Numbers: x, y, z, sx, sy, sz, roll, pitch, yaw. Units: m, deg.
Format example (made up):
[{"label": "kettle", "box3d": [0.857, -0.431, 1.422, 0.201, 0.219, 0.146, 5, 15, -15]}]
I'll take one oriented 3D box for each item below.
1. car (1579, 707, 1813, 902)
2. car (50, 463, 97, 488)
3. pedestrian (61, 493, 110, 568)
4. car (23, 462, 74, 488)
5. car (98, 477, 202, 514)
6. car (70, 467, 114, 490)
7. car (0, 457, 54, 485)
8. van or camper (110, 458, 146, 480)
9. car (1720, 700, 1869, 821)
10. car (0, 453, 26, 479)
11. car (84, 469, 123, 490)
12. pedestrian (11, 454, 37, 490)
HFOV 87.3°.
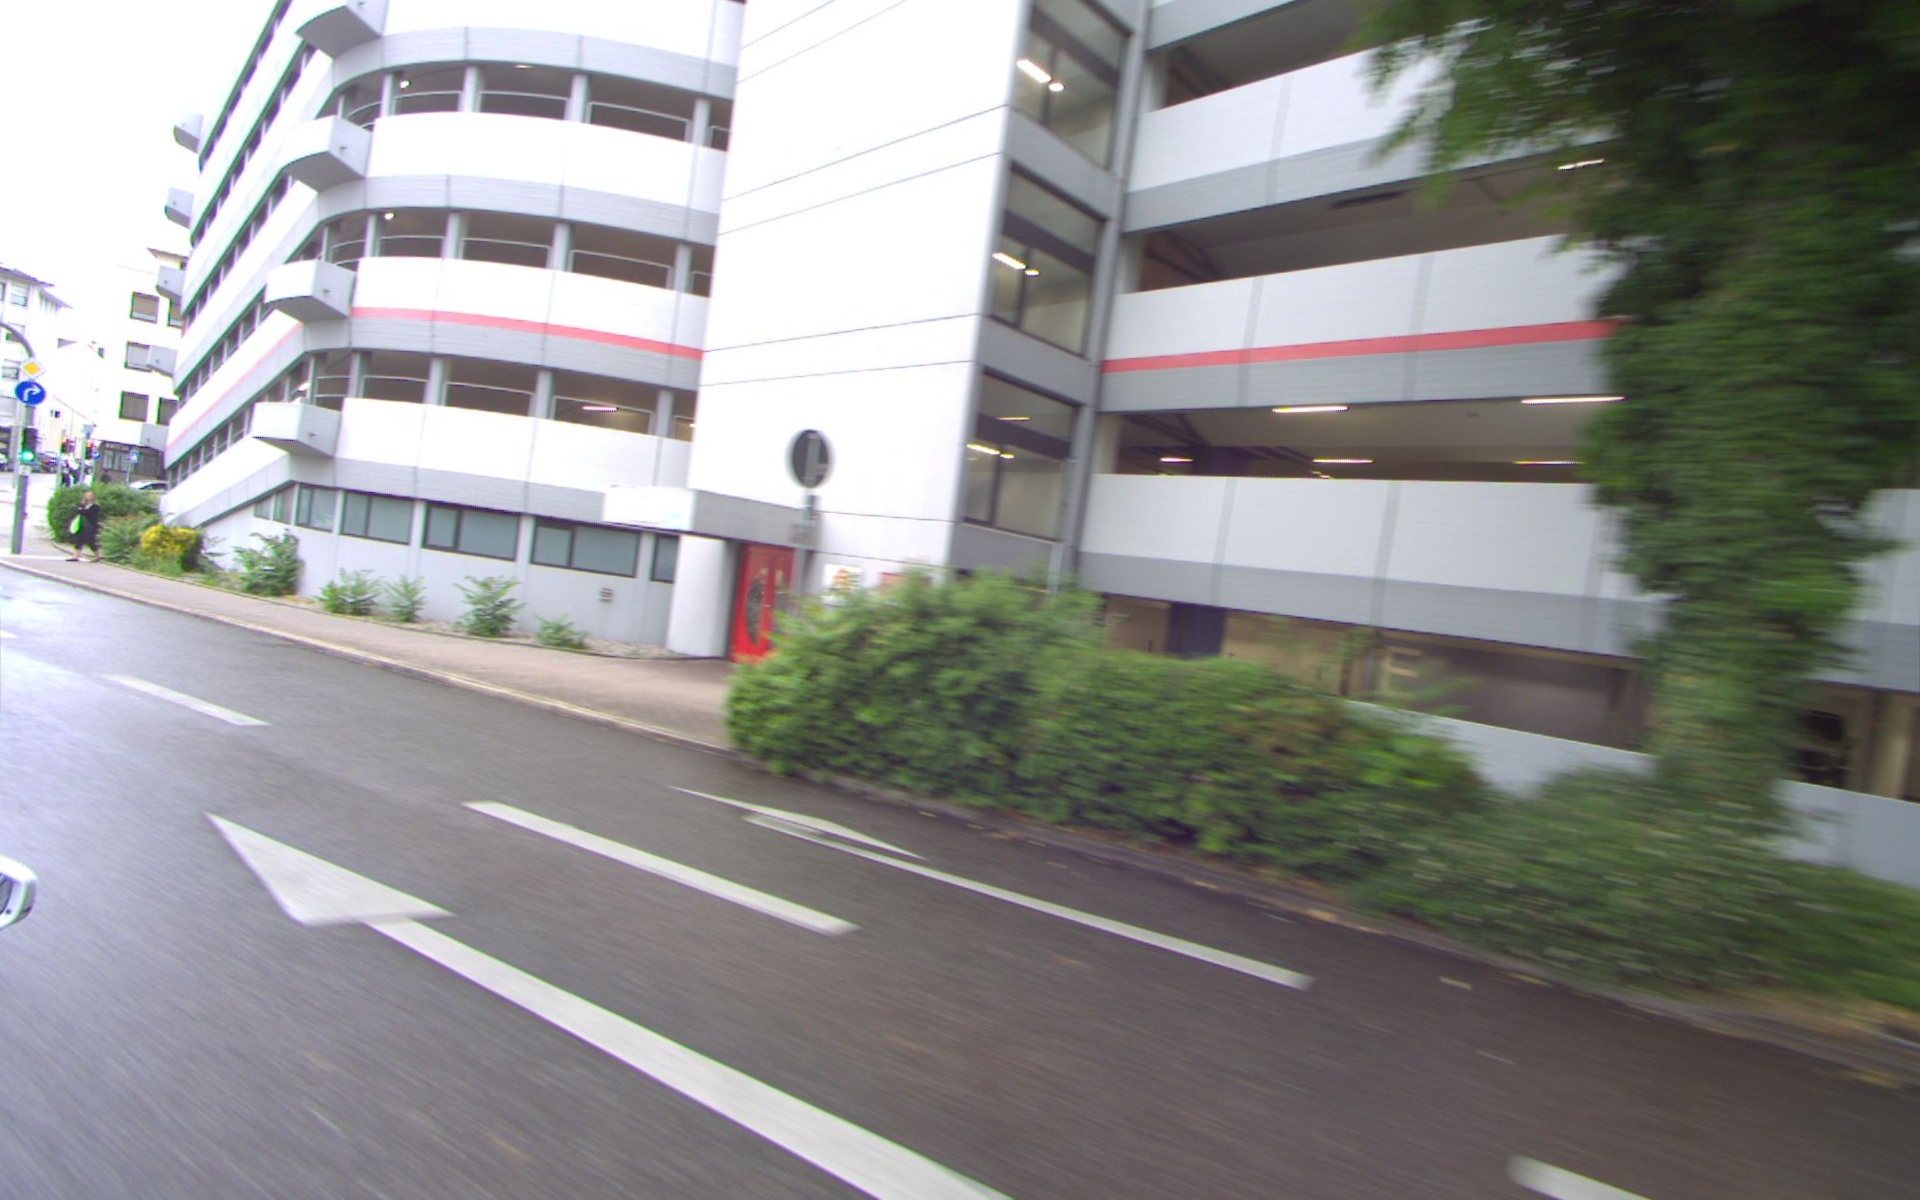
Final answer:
[{"label": "car", "box3d": [9.250, 2.399, 12.546, 1.792, 1.804, 3.448, 7, 0, 43]}, {"label": "car", "box3d": [-80.142, -11.255, 91.002, 1.974, 1.727, 3.975, 6, 1, -24]}, {"label": "pedestrian", "box3d": [-21.401, -1.691, 24.627, 0.638, 1.730, 0.469, 7, -1, -23]}, {"label": "car", "box3d": [-77.609, -10.633, 85.739, 1.974, 1.727, 3.975, 6, 1, -24]}, {"label": "car", "box3d": [-45.727, -5.887, 56.857, 1.831, 1.458, 4.180, 8, 1, 38]}, {"label": "car", "box3d": [-82.522, -11.535, 95.719, 1.974, 1.727, 3.975, 6, 1, -24]}, {"label": "car", "box3d": [-75.443, -10.413, 81.347, 1.974, 1.727, 3.975, 6, 1, -24]}, {"label": "van or camper", "box3d": [-96.867, -15.206, 117.181, 1.974, 2.004, 4.485, 6, 1, -24]}, {"label": "car", "box3d": [15.957, 2.980, 19.153, 1.792, 1.804, 3.979, 7, 0, 43]}, {"label": "car", "box3d": [-73.385, -10.355, 76.649, 1.974, 1.727, 3.975, 6, 1, -24]}, {"label": "car", "box3d": [-89.207, -12.548, 104.794, 1.974, 1.727, 3.975, 6, 1, -24]}, {"label": "pedestrian", "box3d": [-61.378, -8.381, 65.952, 0.931, 2.156, 0.856, 7, 2, 26]}]
